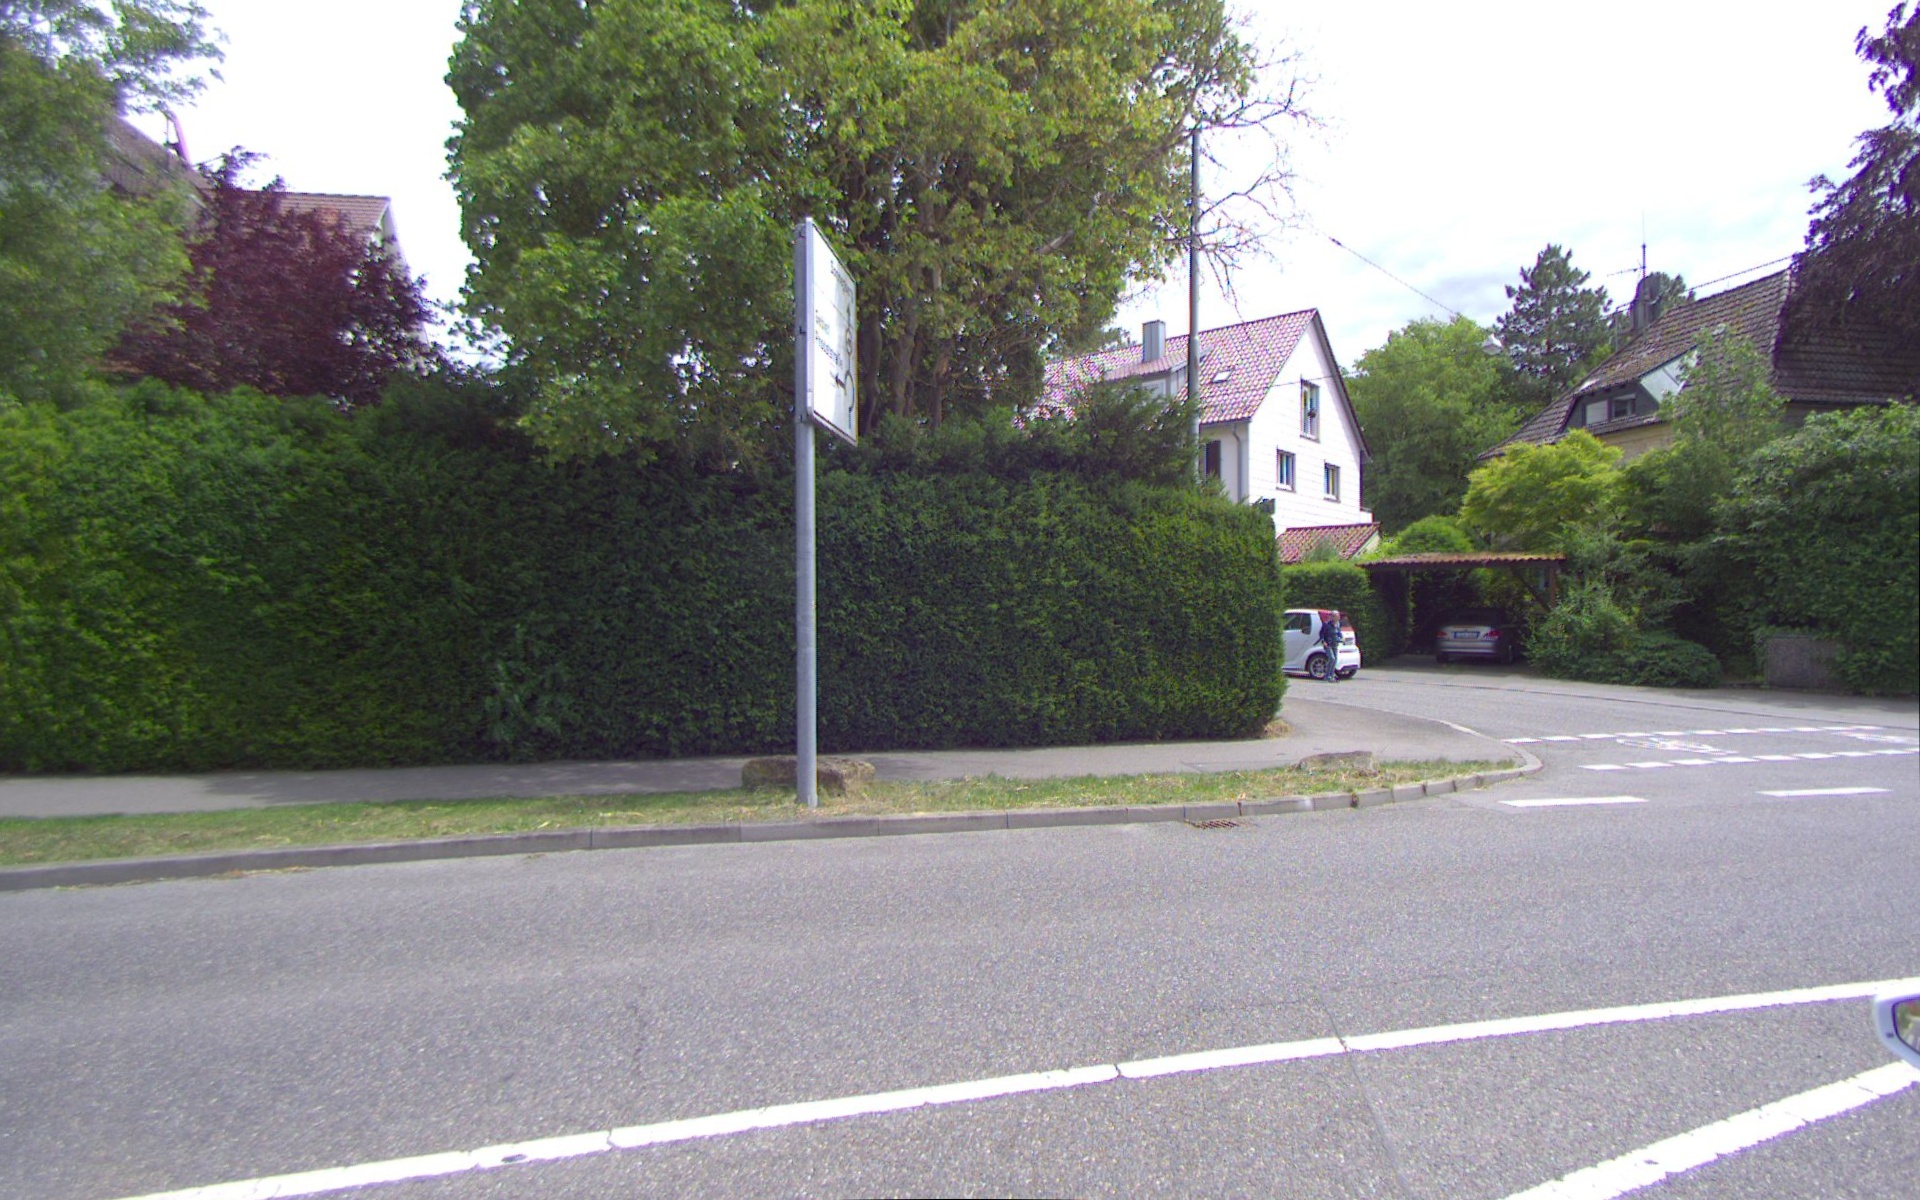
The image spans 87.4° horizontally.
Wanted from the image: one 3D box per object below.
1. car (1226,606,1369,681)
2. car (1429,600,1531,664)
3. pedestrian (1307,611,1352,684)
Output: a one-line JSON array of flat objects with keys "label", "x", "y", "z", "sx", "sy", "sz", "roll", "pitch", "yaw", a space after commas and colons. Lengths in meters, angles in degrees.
[{"label": "car", "x": 7.833, "y": 0.969, "z": 23.403, "sx": 2.739, "sy": 1.576, "sz": 1.581, "roll": 1, "pitch": 0, "yaw": 43}, {"label": "car", "x": 13.640, "y": 0.764, "z": 26.264, "sx": 1.701, "sy": 1.530, "sz": 3.984, "roll": 1, "pitch": 0, "yaw": 37}, {"label": "pedestrian", "x": 7.982, "y": 1.008, "z": 21.699, "sx": 0.623, "sy": 1.529, "sz": 0.721, "roll": 1, "pitch": 0, "yaw": -44}]
